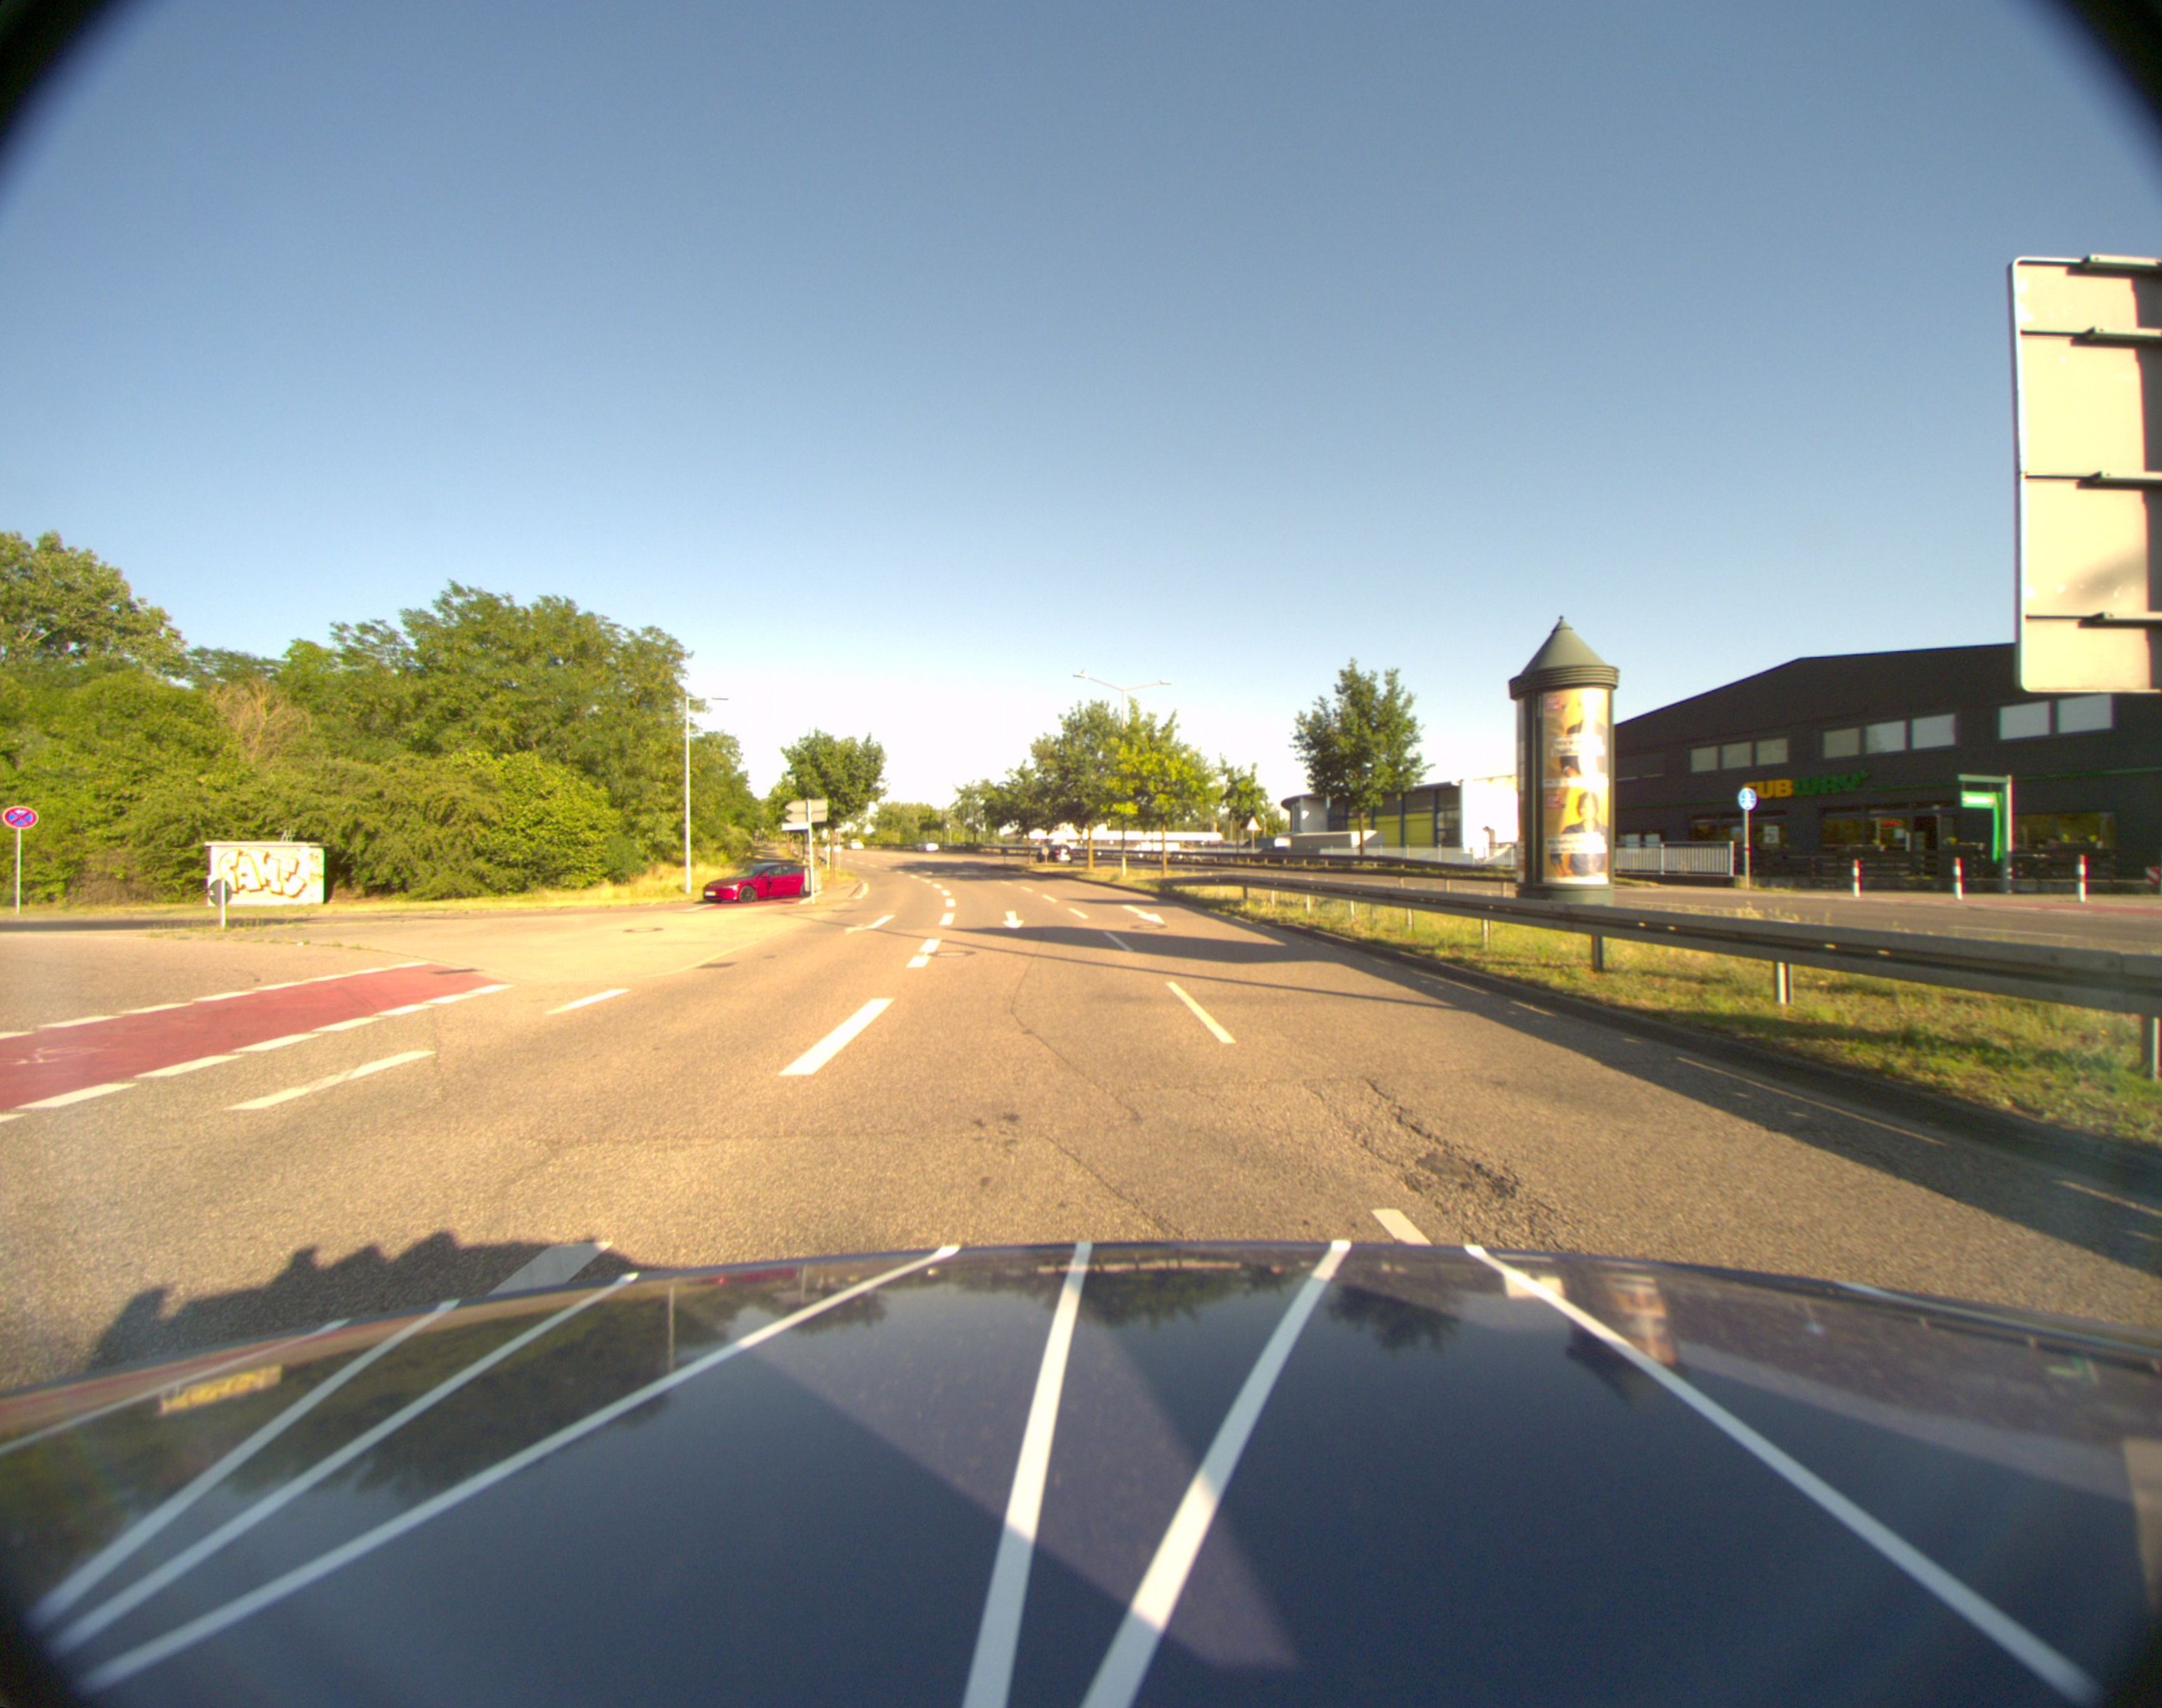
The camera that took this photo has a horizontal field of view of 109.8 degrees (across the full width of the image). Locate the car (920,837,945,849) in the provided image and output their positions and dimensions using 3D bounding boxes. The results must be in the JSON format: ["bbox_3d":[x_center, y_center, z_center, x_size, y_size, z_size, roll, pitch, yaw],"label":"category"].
[{"bbox_3d":[-18.806,-1.399,96.221,1.681,1.454,4.094,-2,2,-33],"label":"car"}]

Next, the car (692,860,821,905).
[{"bbox_3d":[-12.337,1.058,29.161,1.778,1.433,4.366,-3,0,26],"label":"car"}]

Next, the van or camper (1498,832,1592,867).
[{"bbox_3d":[26.911,-0.299,44.219,4.220,1.915,2.002,1,3,16],"label":"van or camper"}]

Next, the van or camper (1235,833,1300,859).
[{"bbox_3d":[12.993,-0.595,53.298,2.002,1.676,4.951,-1,2,-19],"label":"van or camper"}]

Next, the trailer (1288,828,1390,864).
[{"bbox_3d":[15.621,-0.536,46.484,2.429,1.959,6.593,-1,2,-18],"label":"trailer"}]

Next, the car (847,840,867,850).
[{"bbox_3d":[-32.855,-1.349,111.470,1.749,1.454,3.756,-3,2,-33],"label":"car"}]

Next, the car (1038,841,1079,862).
[{"bbox_3d":[-1.851,-0.245,61.325,1.854,1.594,4.385,-1,2,-24],"label":"car"}]
